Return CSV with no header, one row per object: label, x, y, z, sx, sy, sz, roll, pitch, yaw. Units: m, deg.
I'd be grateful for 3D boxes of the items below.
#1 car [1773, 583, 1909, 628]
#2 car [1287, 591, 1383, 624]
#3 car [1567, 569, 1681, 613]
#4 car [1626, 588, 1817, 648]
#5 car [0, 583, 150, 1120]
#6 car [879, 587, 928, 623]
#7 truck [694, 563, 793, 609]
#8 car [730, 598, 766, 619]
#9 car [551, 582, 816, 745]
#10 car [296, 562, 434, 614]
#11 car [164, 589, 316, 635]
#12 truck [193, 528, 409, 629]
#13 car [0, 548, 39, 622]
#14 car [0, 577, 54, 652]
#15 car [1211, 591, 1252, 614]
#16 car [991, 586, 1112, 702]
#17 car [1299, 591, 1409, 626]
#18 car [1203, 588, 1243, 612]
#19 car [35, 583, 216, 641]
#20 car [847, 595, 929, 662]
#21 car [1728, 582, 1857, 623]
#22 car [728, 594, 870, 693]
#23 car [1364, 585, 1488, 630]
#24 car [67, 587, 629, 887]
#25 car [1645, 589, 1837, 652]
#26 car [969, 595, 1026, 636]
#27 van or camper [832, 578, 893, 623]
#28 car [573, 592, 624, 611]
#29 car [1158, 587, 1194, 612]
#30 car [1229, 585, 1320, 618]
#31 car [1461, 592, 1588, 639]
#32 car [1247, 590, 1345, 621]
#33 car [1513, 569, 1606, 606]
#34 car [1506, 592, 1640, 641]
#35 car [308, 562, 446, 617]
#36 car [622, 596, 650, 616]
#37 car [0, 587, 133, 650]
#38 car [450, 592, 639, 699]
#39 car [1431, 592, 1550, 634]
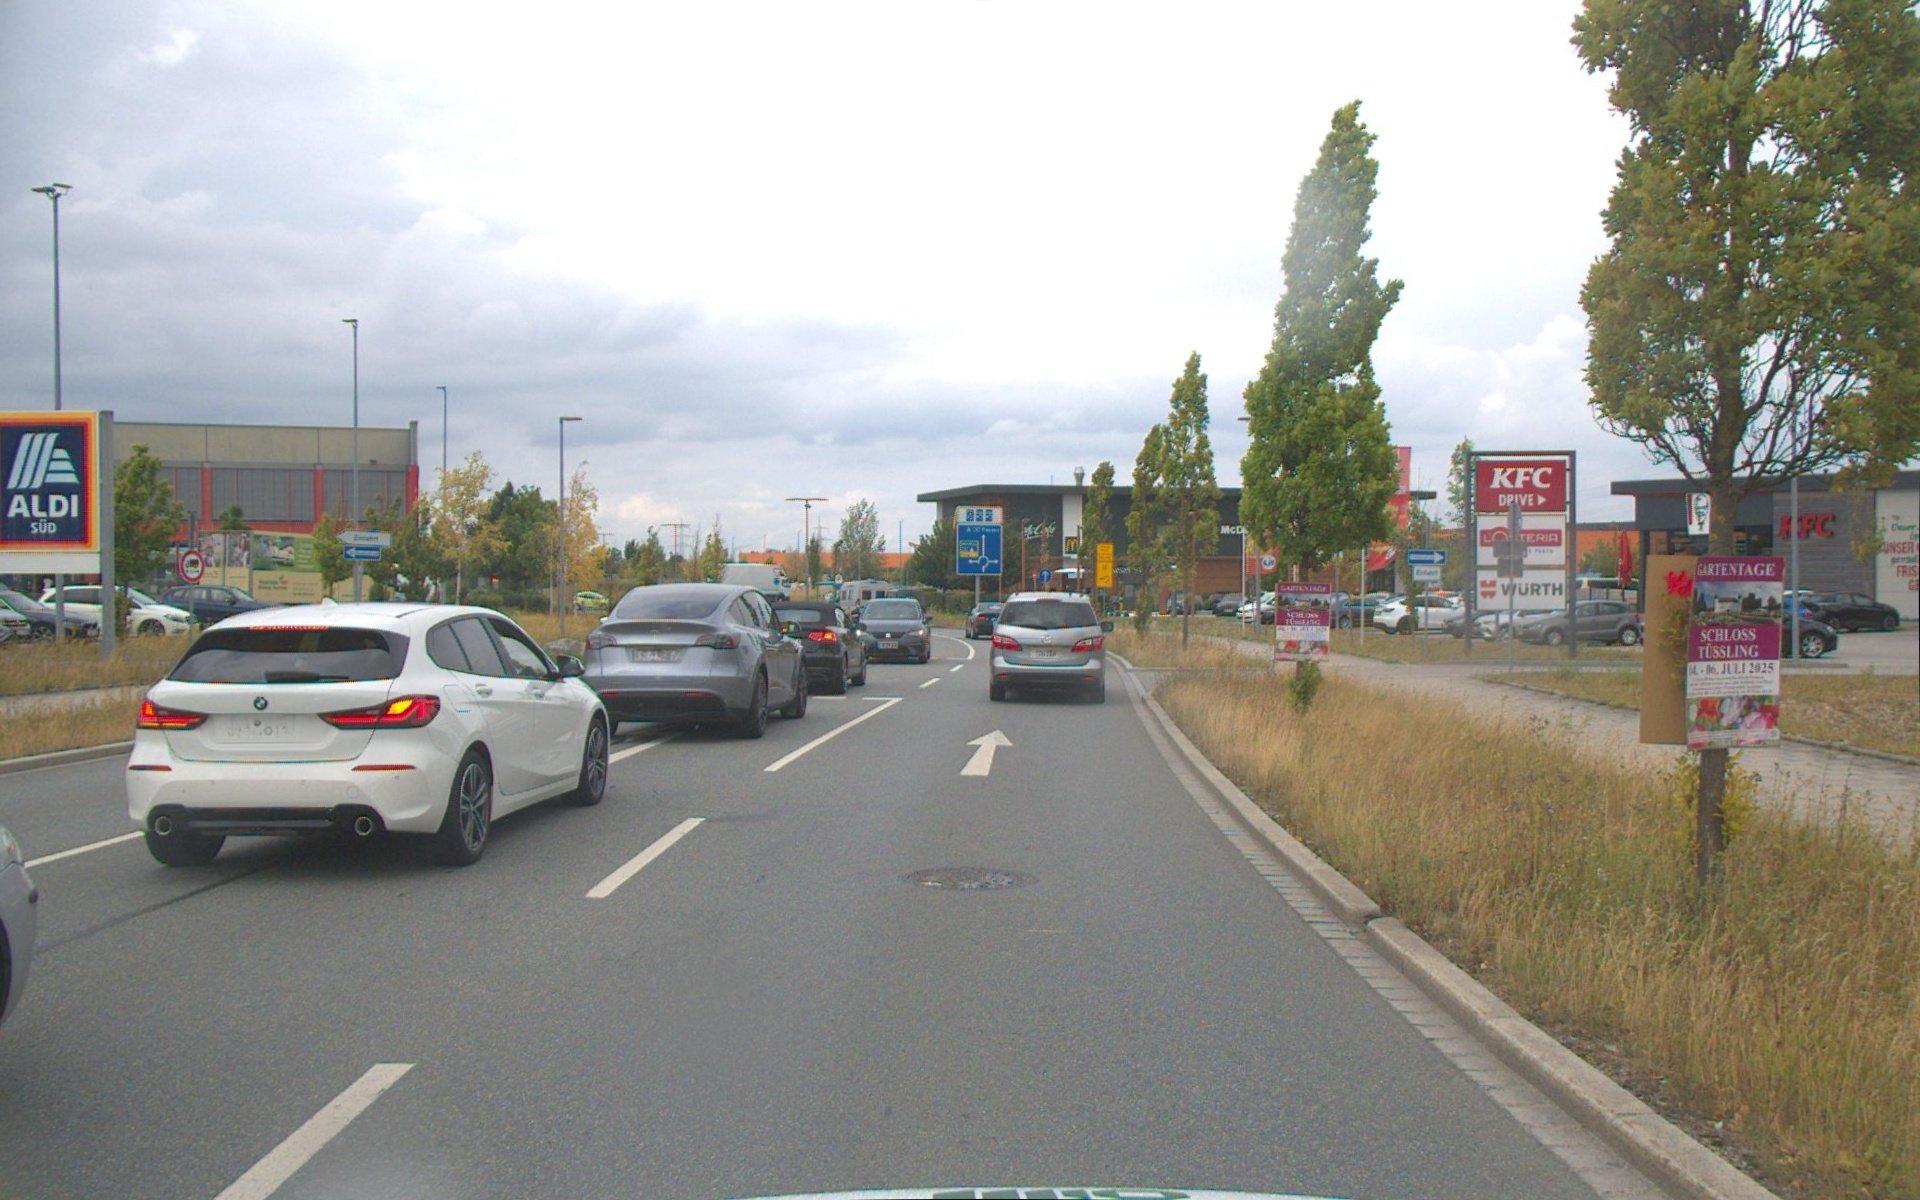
car,32.649,0.183,61.318,4.493,1.545,1.966,-1,1,-20
car,17.732,0.353,78.344,4.015,1.463,1.935,-1,1,-15
car,37.494,-0.533,93.435,5.578,2.392,2.526,-1,1,-15
car,20.190,0.465,43.979,4.174,1.546,1.966,0,0,1
car,-3.450,0.708,3.317,1.667,1.463,4.032,0,1,0
car,-3.024,0.253,87.527,2.020,1.858,4.776,0,0,-9
truck,-19.336,-1.274,148.262,3.083,3.975,9.291,0,0,38
car,-16.268,0.660,126.854,1.964,1.542,3.976,0,0,-20
car,-2.924,0.605,18.564,1.952,1.588,4.615,0,1,3
car,-27.734,-0.557,77.317,5.973,2.347,2.199,0,0,-18
car,-23.829,0.388,54.850,4.148,1.460,1.996,0,1,-4
truck,-25.092,-0.777,63.553,2.790,3.603,8.431,0,0,20
car,-36.805,-0.565,63.379,2.030,2.737,5.110,-1,1,-23
car,-24.190,0.335,39.309,4.157,1.753,2.028,0,0,-2
car,15.918,0.137,96.918,1.773,1.336,3.851,0,1,19
car,1.423,0.620,25.485,1.693,1.628,3.809,1,0,3
car,17.937,0.359,75.374,4.439,1.494,2.026,-1,1,-13
car,19.316,-0.014,121.520,2.072,1.747,4.231,0,0,21
car,-23.779,0.330,47.260,4.166,1.586,1.986,-1,1,-7
car,-1.613,0.616,38.336,1.792,1.445,4.245,0,0,-1
car,33.515,0.088,66.644,4.490,1.545,2.071,-1,1,-18
car,-2.504,0.662,26.664,1.732,1.463,4.232,0,0,2
car,19.256,0.307,68.462,4.476,1.673,2.085,-2,0,-8
car,-3.487,0.689,10.370,1.841,1.494,4.194,0,0,2
car,19.481,0.496,41.412,3.903,1.520,1.983,0,0,4
car,1.345,0.550,61.462,1.808,1.443,4.222,0,1,-3
van or camper,-5.764,0.030,97.028,2.268,2.550,5.177,0,0,-19
car,-30.486,0.101,139.492,3.908,1.542,1.999,0,0,-4
car,15.672,-0.042,119.710,1.951,1.747,4.002,0,0,17
car,16.265,0.069,85.651,4.281,1.668,1.927,-1,1,-19
car,19.958,0.539,58.581,3.784,1.507,1.901,-2,0,-3
car,16.889,0.273,83.217,4.395,1.461,2.065,-1,1,-16
car,42.810,-0.894,118.173,5.915,2.572,2.277,0,1,30
car,19.890,0.521,53.766,3.681,1.520,1.889,0,0,-1
car,-28.900,-0.523,82.189,6.305,2.644,2.233,0,0,-17
car,-29.055,0.517,148.143,1.772,1.698,4.302,-3,1,-19
car,-23.583,0.453,41.970,4.153,1.540,2.047,0,0,3
car,-7.244,0.730,29.375,1.952,1.665,4.704,-2,0,2
car,20.335,0.486,63.508,3.908,1.511,1.939,-1,0,-4
